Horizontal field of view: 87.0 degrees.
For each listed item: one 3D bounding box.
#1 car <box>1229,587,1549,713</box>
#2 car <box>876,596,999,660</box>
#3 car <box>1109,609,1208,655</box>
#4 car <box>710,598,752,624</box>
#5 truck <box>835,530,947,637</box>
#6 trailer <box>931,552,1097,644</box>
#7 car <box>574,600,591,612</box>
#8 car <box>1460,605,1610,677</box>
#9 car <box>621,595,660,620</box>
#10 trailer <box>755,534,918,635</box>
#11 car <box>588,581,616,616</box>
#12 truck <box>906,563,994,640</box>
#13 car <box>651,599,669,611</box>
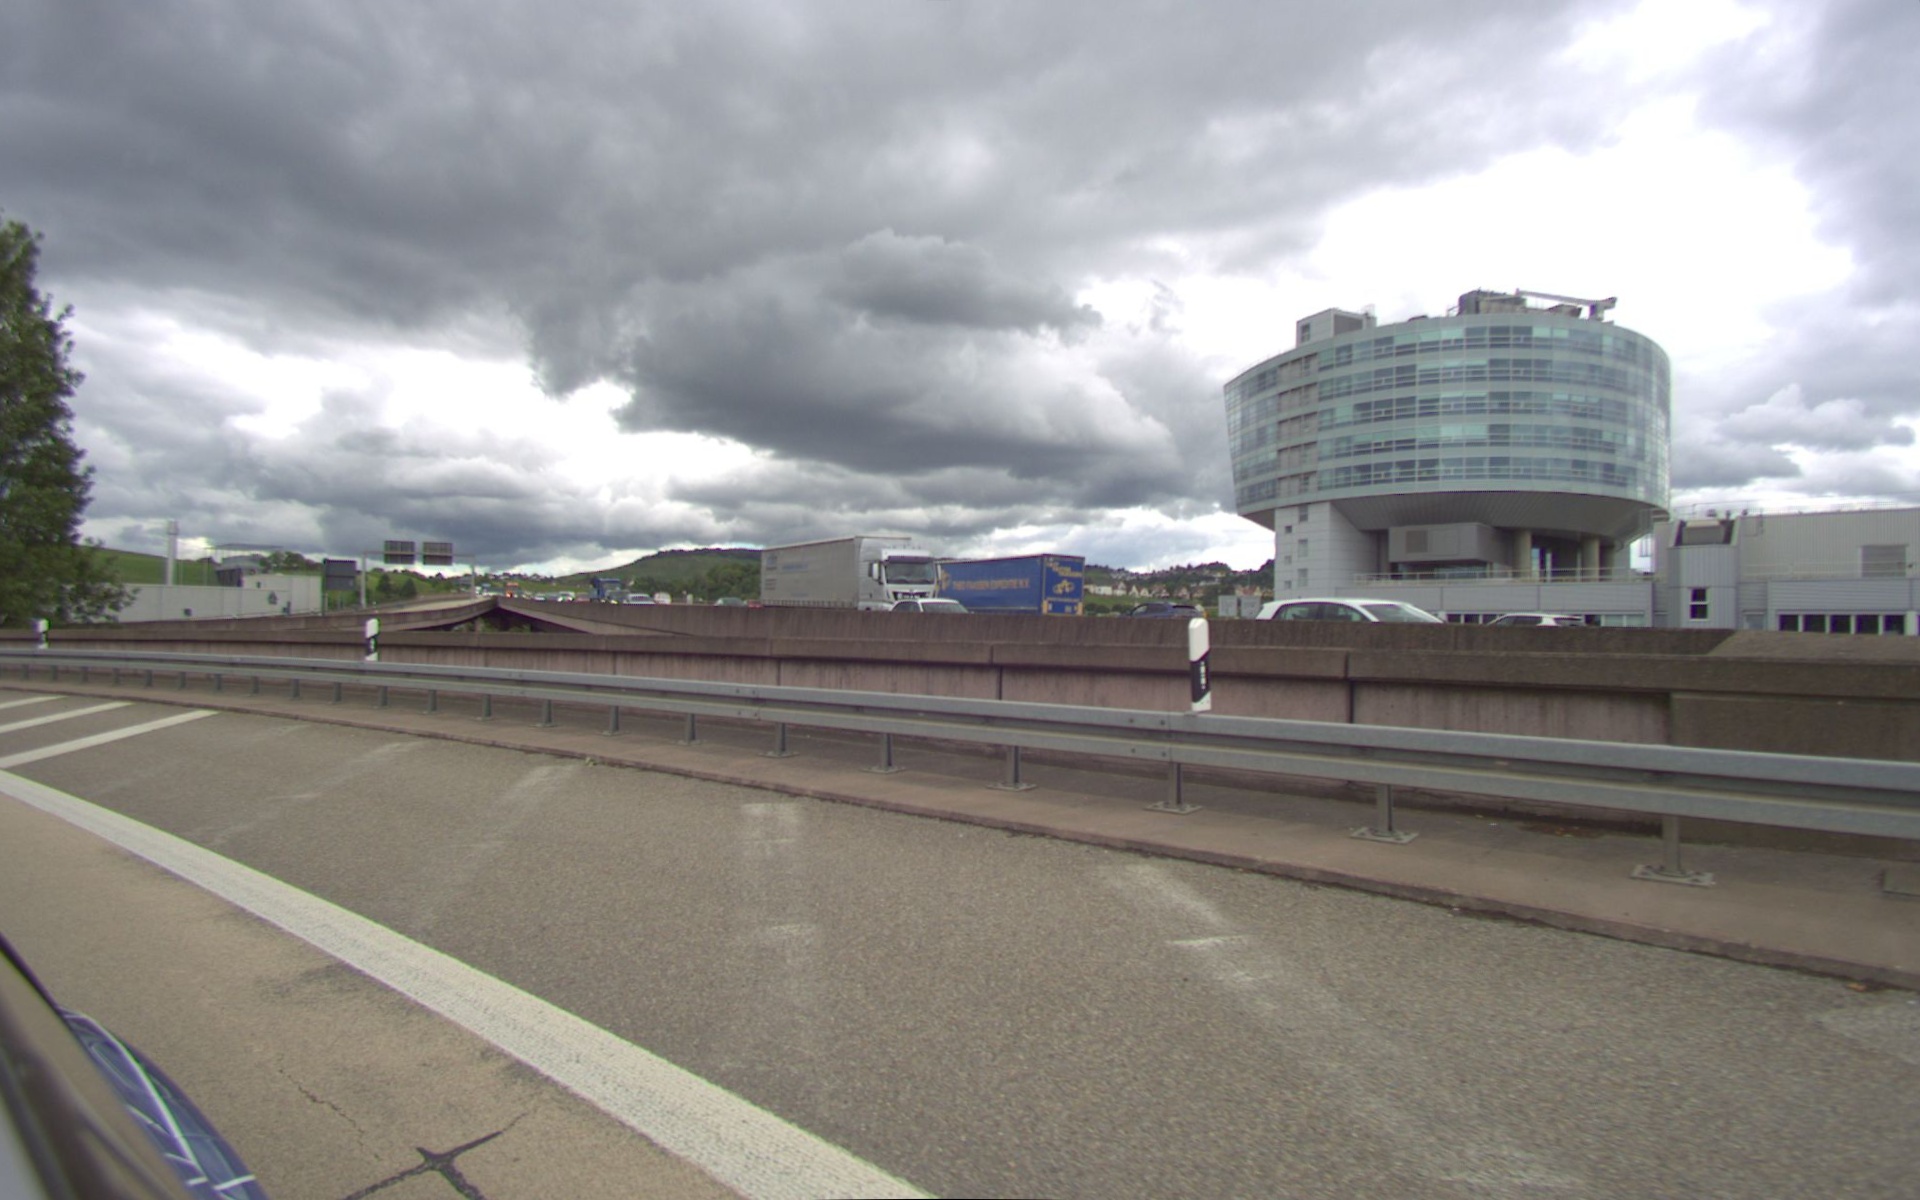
[{"bbox_3d":[5.894,0.626,14.420,1.685,1.508,4.013,-1,0,-27],"label":"car"},{"bbox_3d":[-0.691,0.715,27.171,1.758,1.530,4.013,-2,0,-26],"label":"car"},{"bbox_3d":[7.230,1.172,37.244,1.621,1.603,3.698,2,-2,-27],"label":"car"},{"bbox_3d":[-14.996,0.722,66.214,1.758,1.529,4.013,-3,0,-26],"label":"car"},{"bbox_3d":[-2.890,-0.653,41.180,2.816,4.041,4.807,-1,0,-28],"label":"truck"},{"bbox_3d":[2.569,0.036,55.318,3.117,4.380,12.558,2,-2,-27],"label":"trailer"},{"bbox_3d":[-50.907,0.843,136.389,1.758,1.529,4.013,-3,0,-26],"label":"car"},{"bbox_3d":[19.438,1.310,34.395,1.966,2.028,4.013,-6,3,-20],"label":"car"},{"bbox_3d":[-22.835,0.525,72.244,1.966,1.695,4.013,-1,0,-28],"label":"car"},{"bbox_3d":[-6.259,-0.648,47.651,2.816,4.041,14.019,-1,0,-28],"label":"trailer"},{"bbox_3d":[-39.985,-0.113,112.974,2.325,3.688,4.814,-3,0,-26],"label":"car"},{"bbox_3d":[-0.673,0.154,61.716,3.117,4.380,5.713,2,-2,-26],"label":"truck"},{"bbox_3d":[-39.953,0.663,134.889,1.659,1.529,3.662,-3,0,-26],"label":"car"}]
